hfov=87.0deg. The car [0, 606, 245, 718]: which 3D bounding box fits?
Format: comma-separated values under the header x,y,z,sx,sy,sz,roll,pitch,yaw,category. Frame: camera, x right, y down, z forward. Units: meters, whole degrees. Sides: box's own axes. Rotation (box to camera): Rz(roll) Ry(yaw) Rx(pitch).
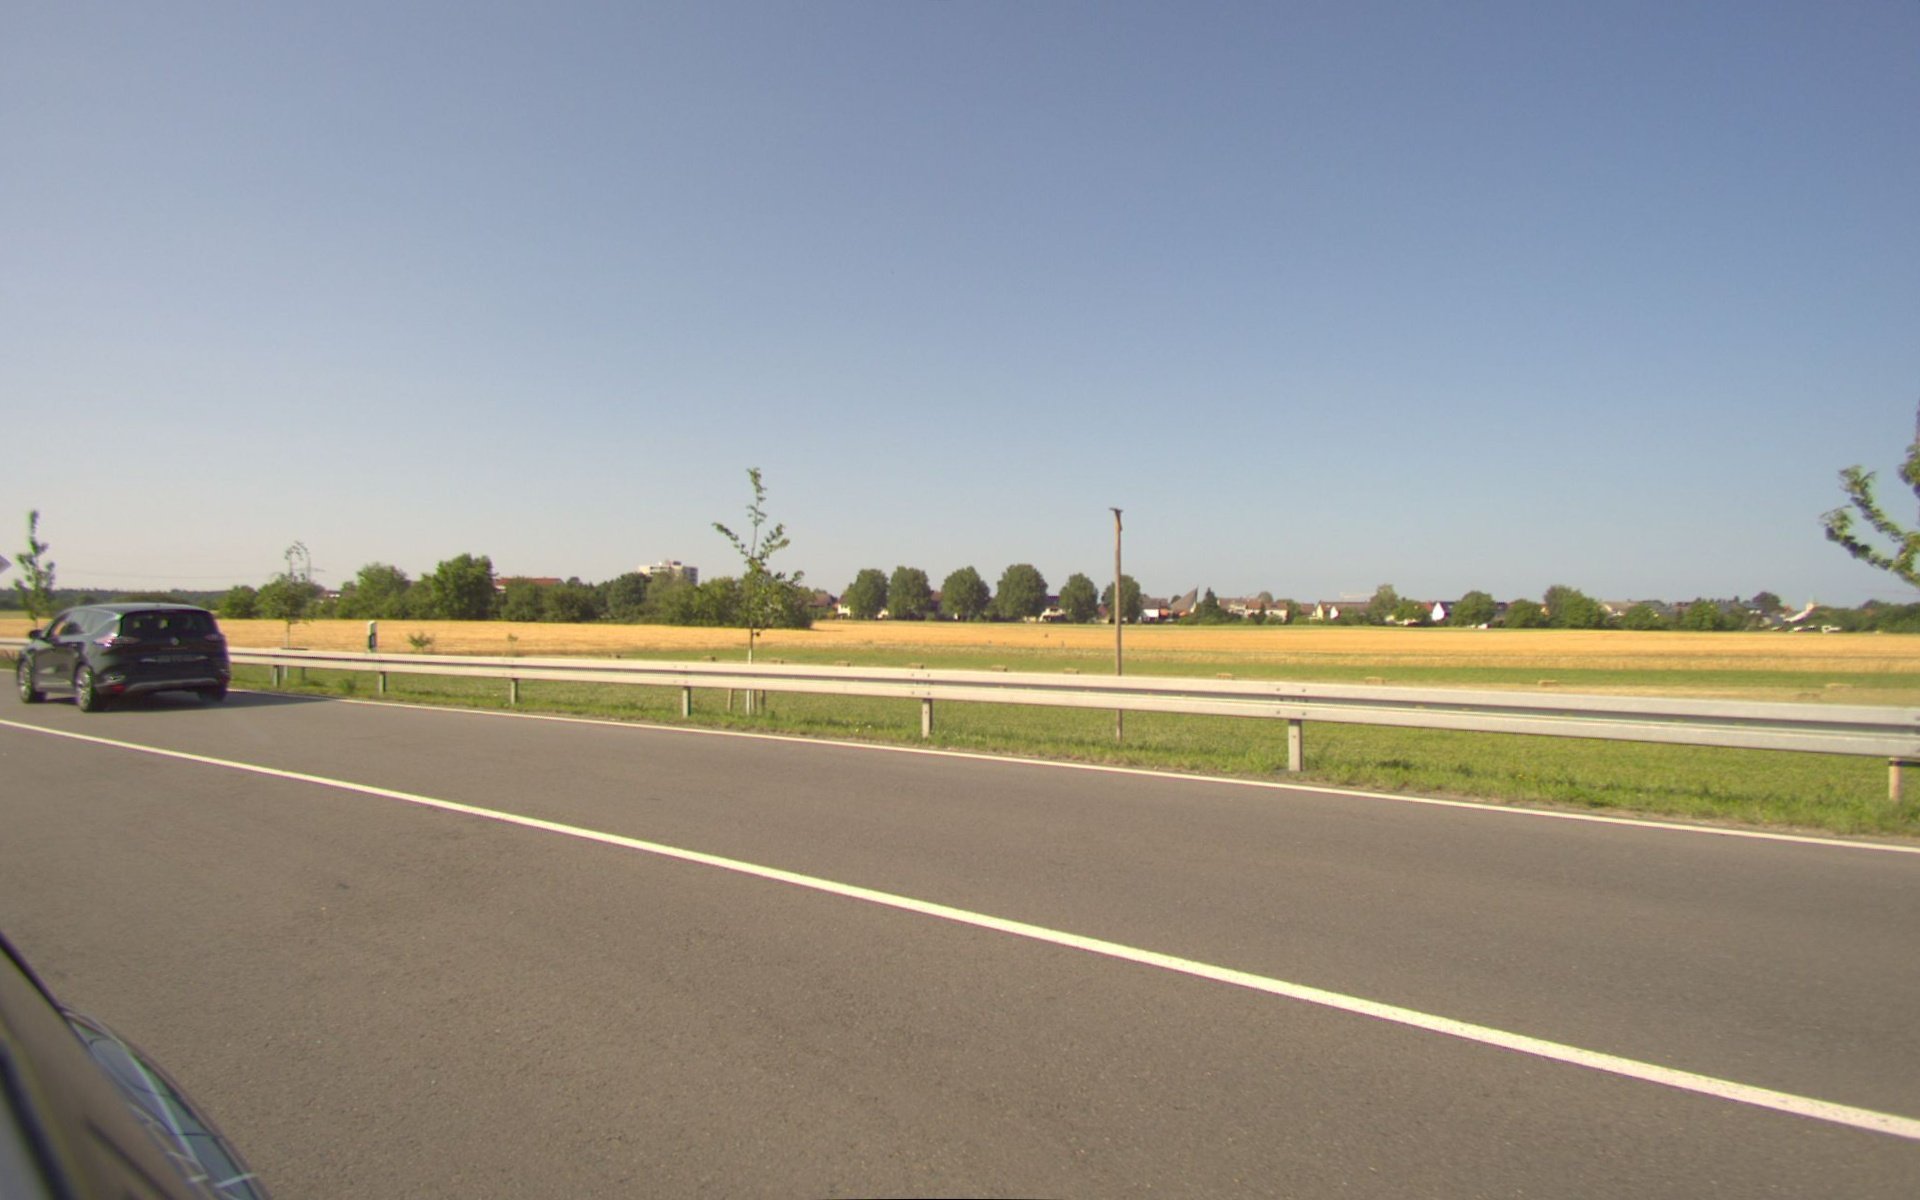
x,y,z,sx,sy,sz,roll,pitch,yaw,category
-14.200,0.946,17.024,4.850,1.604,1.977,-1,0,34,car
